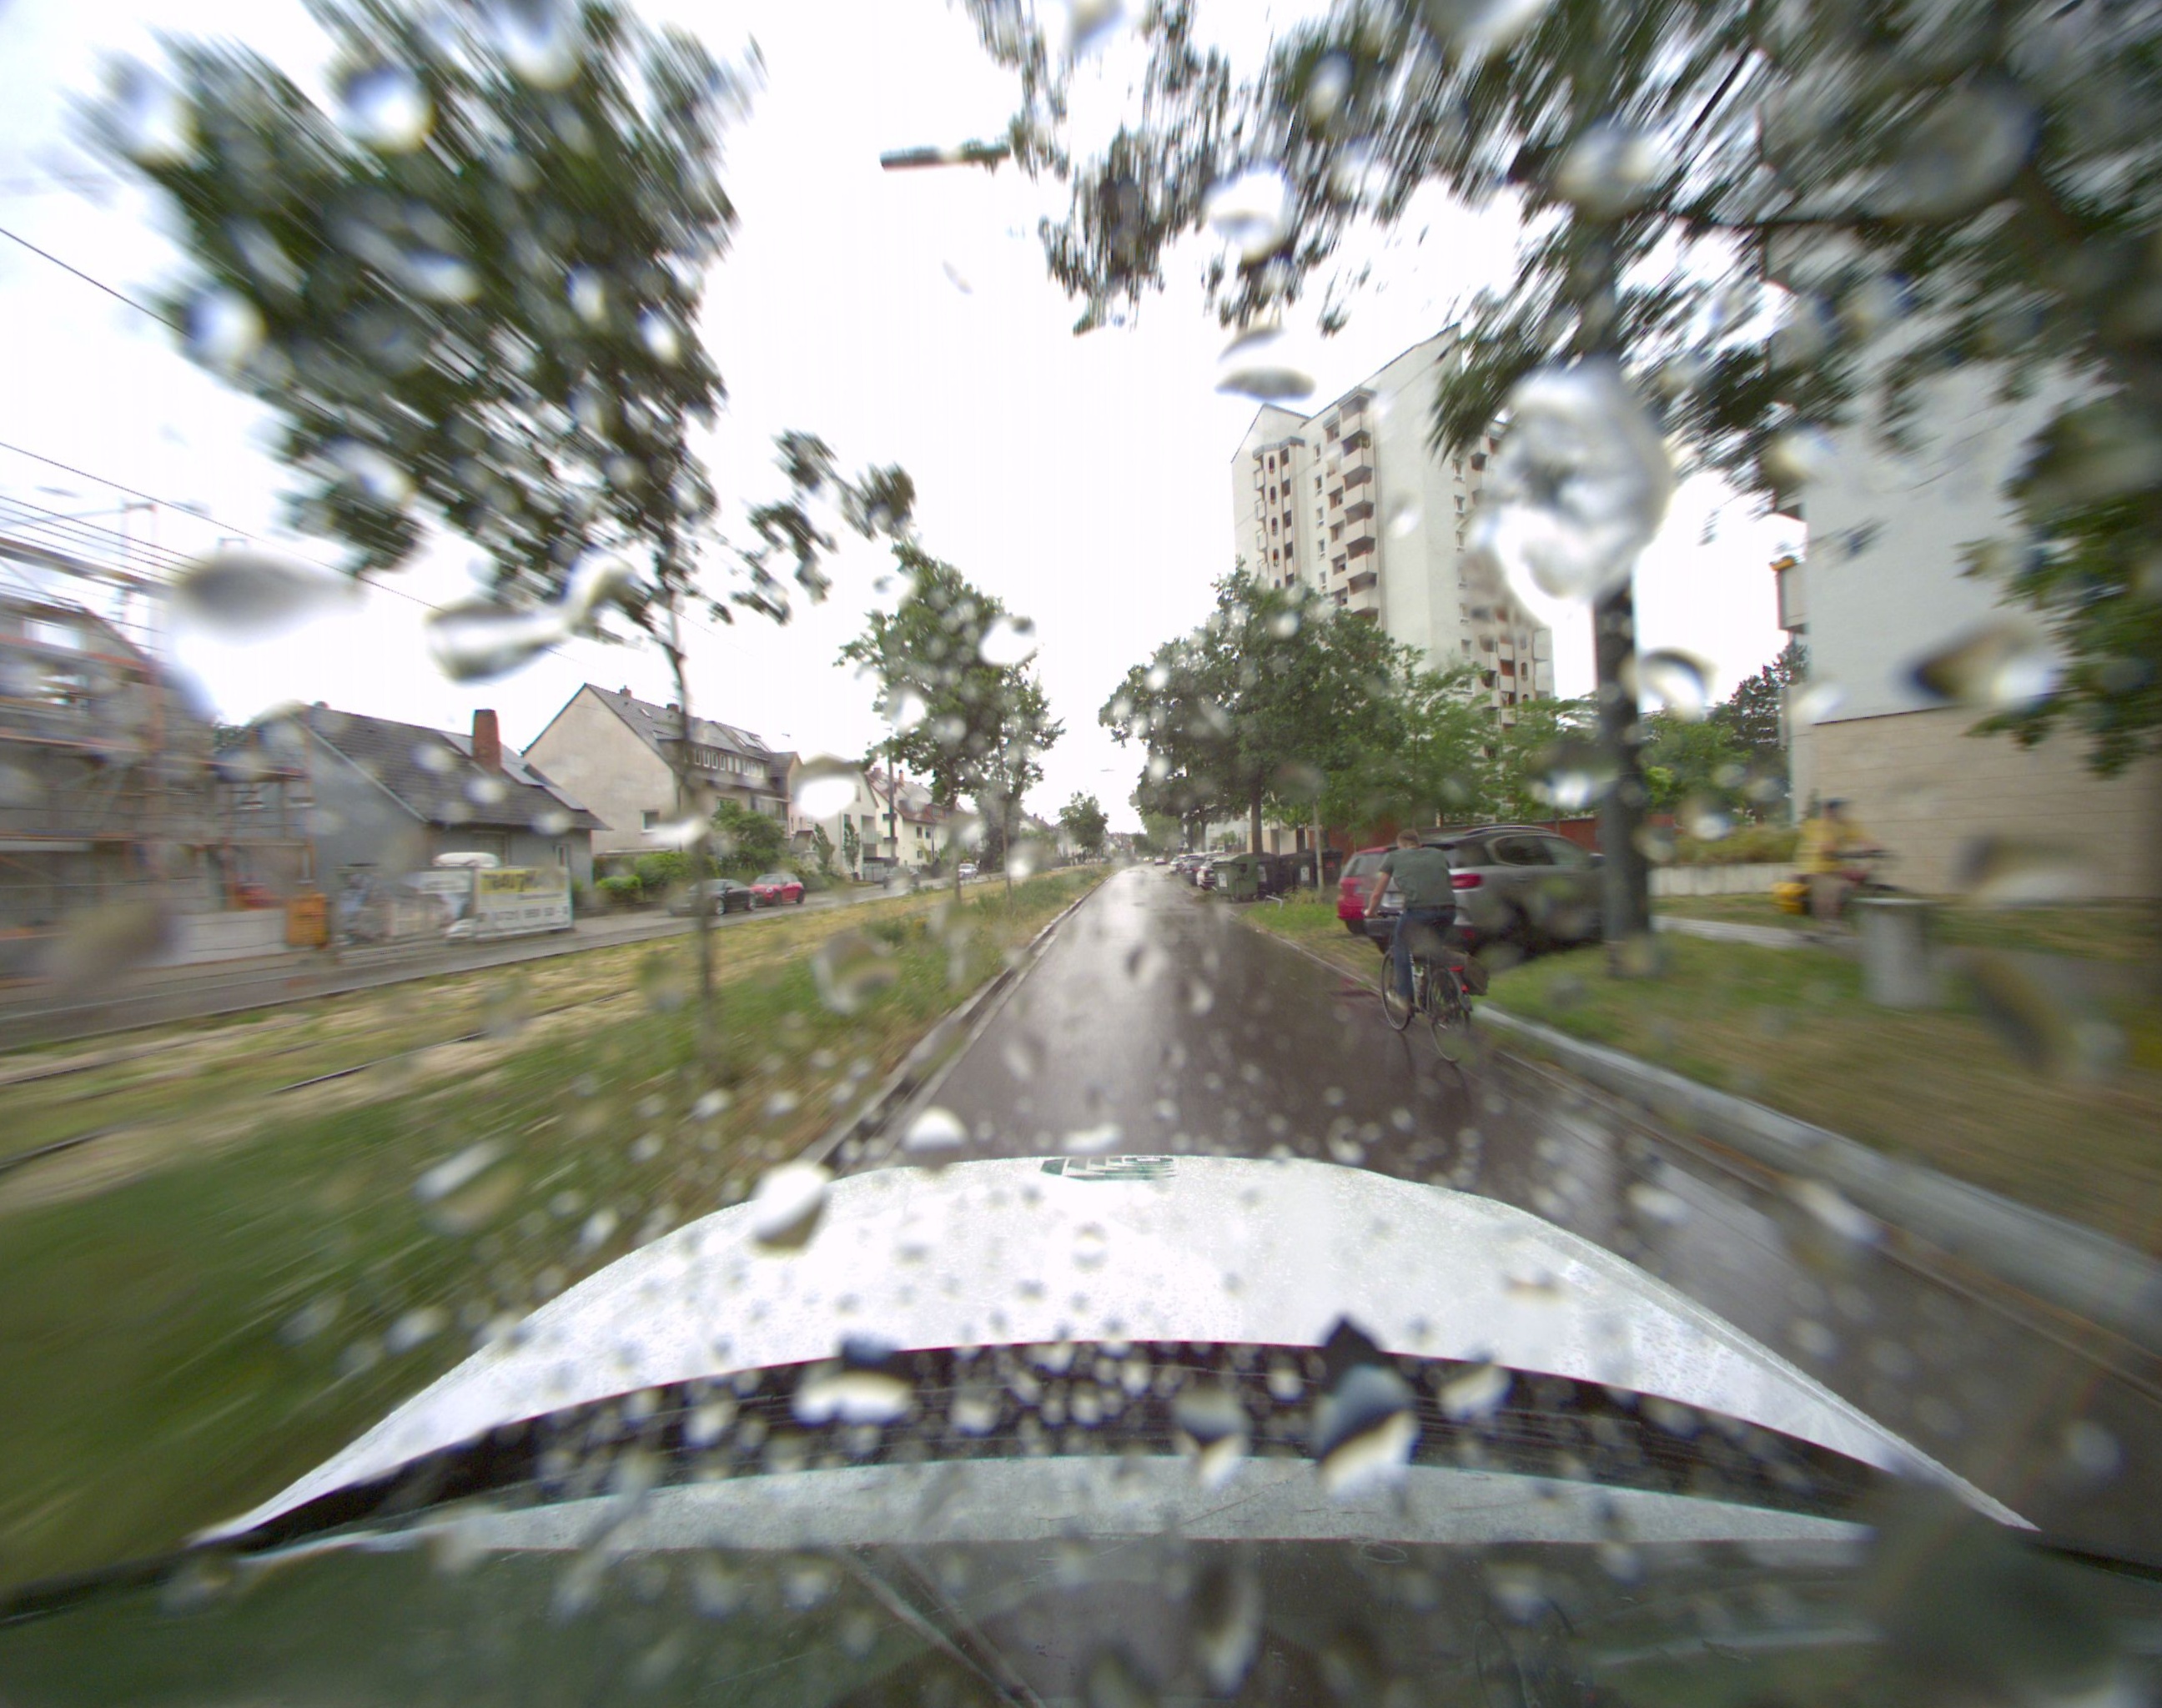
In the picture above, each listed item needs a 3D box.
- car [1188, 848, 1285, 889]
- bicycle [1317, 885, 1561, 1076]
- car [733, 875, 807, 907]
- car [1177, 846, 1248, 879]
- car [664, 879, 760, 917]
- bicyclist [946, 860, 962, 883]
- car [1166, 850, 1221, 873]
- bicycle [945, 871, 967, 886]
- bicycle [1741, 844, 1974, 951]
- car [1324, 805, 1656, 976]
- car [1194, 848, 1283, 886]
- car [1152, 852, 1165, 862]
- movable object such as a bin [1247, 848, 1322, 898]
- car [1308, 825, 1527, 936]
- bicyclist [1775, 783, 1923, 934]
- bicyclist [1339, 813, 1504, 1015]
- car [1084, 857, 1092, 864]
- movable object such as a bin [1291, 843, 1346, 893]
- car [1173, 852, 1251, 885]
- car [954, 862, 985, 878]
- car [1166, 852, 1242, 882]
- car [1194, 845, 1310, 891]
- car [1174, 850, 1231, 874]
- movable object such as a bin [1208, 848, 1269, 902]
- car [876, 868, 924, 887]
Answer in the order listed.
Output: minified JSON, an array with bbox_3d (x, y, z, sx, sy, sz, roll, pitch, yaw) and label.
[{"bbox_3d":[6.658,0.594,34.780,4.055,1.519,1.569,-3,0,-32],"label":"car"},{"bbox_3d":[2.683,0.866,6.527,0.807,1.096,2.517,-3,0,0],"label":"bicycle"},{"bbox_3d":[-13.921,1.624,36.663,1.667,1.244,3.858,0,0,4],"label":"car"},{"bbox_3d":[7.656,0.492,47.256,4.057,1.703,1.568,-3,0,-34],"label":"car"},{"bbox_3d":[-14.140,1.642,31.478,1.656,1.244,4.075,0,0,3],"label":"car"},{"bbox_3d":[-10.007,1.371,64.130,1.014,1.685,1.092,-3,0,2],"label":"bicyclist"},{"bbox_3d":[8.540,0.584,61.814,4.057,1.513,1.568,-3,0,-34],"label":"car"},{"bbox_3d":[-9.925,1.933,64.726,1.014,1.027,3.199,-3,0,3],"label":"bicycle"},{"bbox_3d":[8.745,0.447,9.329,0.732,1.056,2.052,-3,0,2],"label":"bicycle"},{"bbox_3d":[5.612,0.374,11.095,4.161,1.719,1.981,-5,1,-30],"label":"car"},{"bbox_3d":[7.355,0.583,37.896,4.055,1.519,1.569,-3,0,-32],"label":"car"},{"bbox_3d":[12.584,0.470,131.825,1.825,1.586,4.003,-3,0,3],"label":"car"},{"bbox_3d":[6.214,0.574,24.924,1.686,1.326,1.392,-5,0,-18],"label":"movable object such as a bin"},{"bbox_3d":[6.147,0.413,14.743,3.903,1.567,1.714,-5,1,-34],"label":"car"},{"bbox_3d":[8.714,0.050,9.286,0.732,1.594,0.945,-3,0,2],"label":"bicyclist"},{"bbox_3d":[2.662,0.440,6.494,0.807,1.433,1.060,-3,0,0],"label":"bicyclist"},{"bbox_3d":[1.691,1.587,198.134,1.835,1.672,4.003,-3,0,3],"label":"car"},{"bbox_3d":[7.726,0.449,26.488,1.250,1.520,1.080,-4,0,-25],"label":"movable object such as a bin"},{"bbox_3d":[6.540,0.700,40.426,4.063,1.443,1.566,-3,0,-41],"label":"car"},{"bbox_3d":[-10.897,1.557,79.712,1.887,1.469,4.695,0,0,6],"label":"car"},{"bbox_3d":[6.697,0.690,44.299,4.057,1.443,1.568,-3,0,-34],"label":"car"},{"bbox_3d":[6.631,0.518,31.549,4.242,1.519,1.858,-3,0,-32],"label":"car"},{"bbox_3d":[8.795,0.551,58.882,4.057,1.541,1.568,-3,0,-34],"label":"car"},{"bbox_3d":[4.748,0.634,24.700,1.129,1.457,1.392,-8,1,-18],"label":"movable object such as a bin"},{"bbox_3d":[-12.655,1.619,57.368,1.887,1.244,4.695,0,0,6],"label":"car"}]
